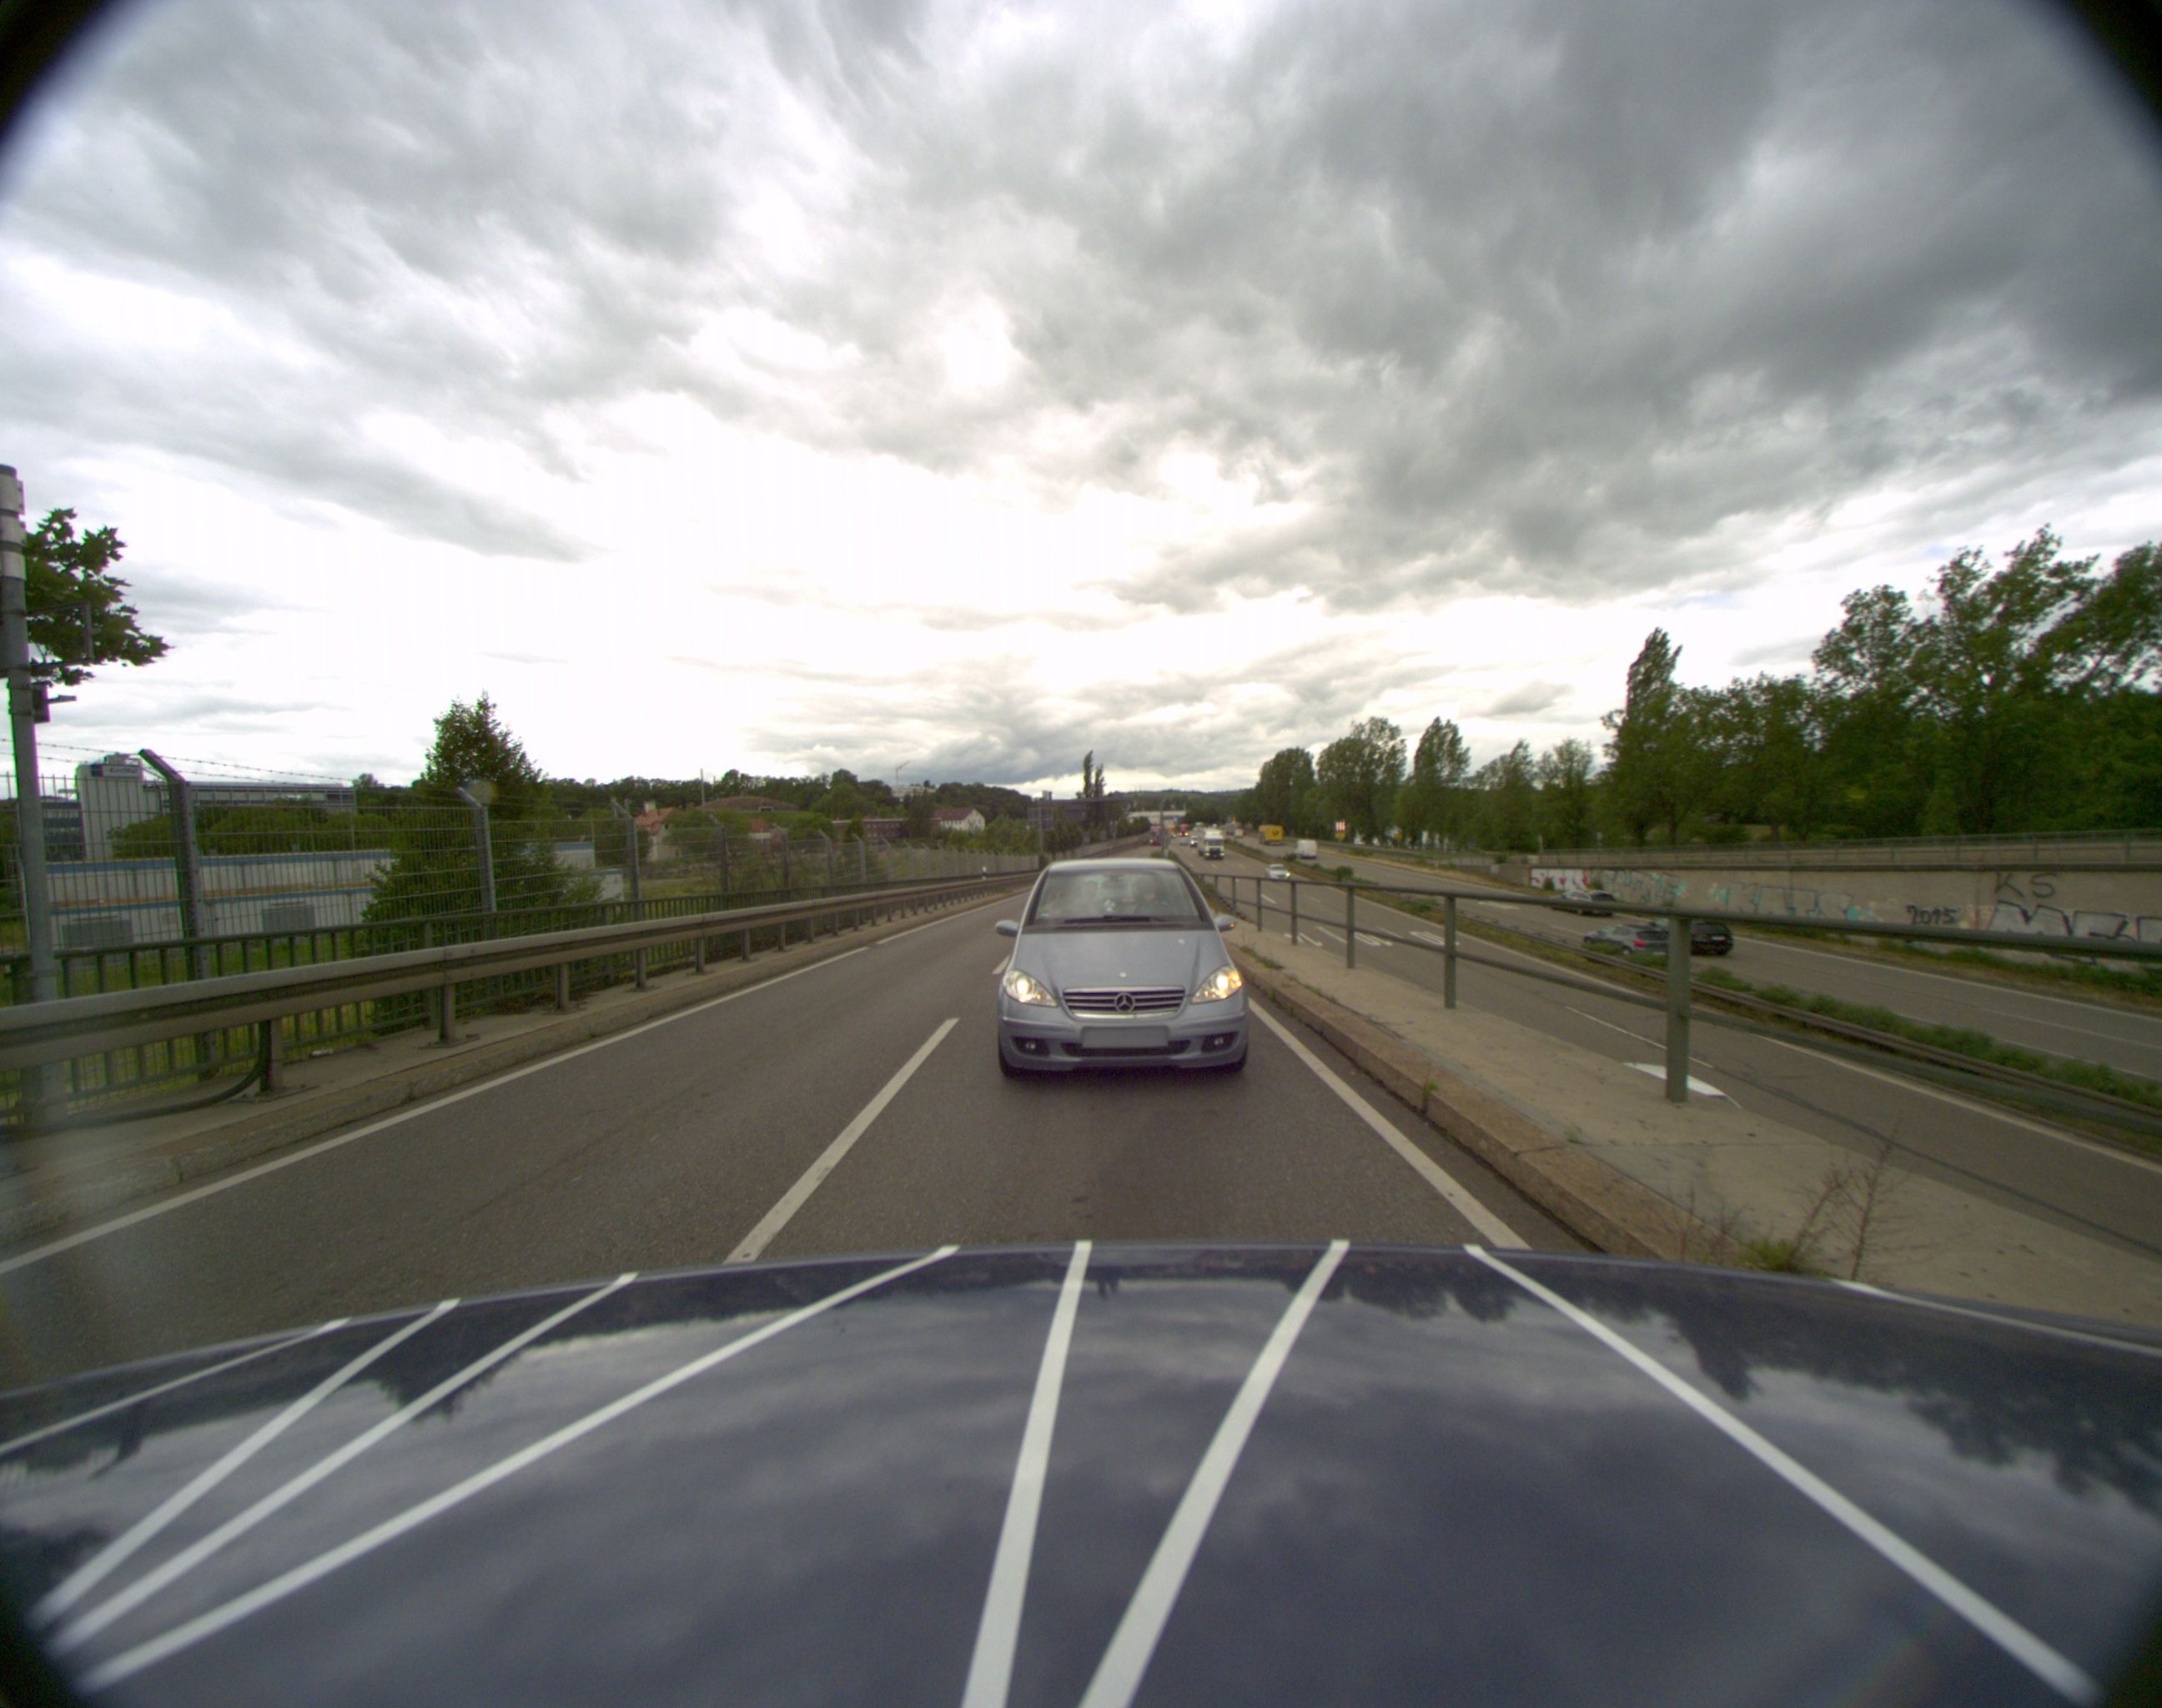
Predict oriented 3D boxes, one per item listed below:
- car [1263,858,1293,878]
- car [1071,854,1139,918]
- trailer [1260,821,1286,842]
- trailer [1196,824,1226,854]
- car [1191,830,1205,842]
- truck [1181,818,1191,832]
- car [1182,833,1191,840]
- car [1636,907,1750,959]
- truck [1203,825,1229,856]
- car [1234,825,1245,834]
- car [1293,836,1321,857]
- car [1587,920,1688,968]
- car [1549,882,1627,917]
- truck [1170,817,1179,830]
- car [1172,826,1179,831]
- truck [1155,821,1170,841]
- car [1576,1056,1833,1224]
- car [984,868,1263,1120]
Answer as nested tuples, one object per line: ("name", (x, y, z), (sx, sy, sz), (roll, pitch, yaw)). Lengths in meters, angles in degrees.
("car", (18.897, 1.334, 72.940), (1.854, 1.562, 4.436), (-1, 4, 2))
("car", (0.690, 0.911, 23.088), (1.830, 1.701, 4.001), (-2, -1, 1))
("trailer", (40.190, -4.799, 159.431), (3.247, 4.239, 13.678), (0, 3, 5))
("trailer", (19.571, -2.388, 115.140), (3.010, 4.087, 13.985), (0, 3, 3))
("car", (23.190, -3.584, 151.012), (2.104, 2.231, 6.498), (0, 3, 3))
("truck", (36.146, -9.986, 261.382), (2.754, 4.712, 9.916), (1, 3, 4))
("car", (22.663, -3.731, 163.500), (1.512, 1.365, 3.536), (0, 3, 3))
("car", (27.467, 3.489, 34.300), (1.886, 1.709, 4.181), (0, 3, 3))
("truck", (19.082, -1.968, 107.882), (3.010, 4.087, 5.872), (0, 3, 3))
("car", (47.512, -7.348, 227.608), (1.998, 2.614, 6.711), (1, 3, 3))
("car", (31.670, -1.115, 106.631), (2.172, 2.580, 6.099), (-1, 3, 1))
("car", (23.803, 3.826, 32.677), (1.718, 1.446, 3.649), (-1, 3, 2))
("car", (31.156, 2.780, 46.852), (1.864, 1.643, 4.632), (0, 3, 3))
("truck", (32.056, -10.450, 260.872), (2.415, 4.100, 8.169), (0, 3, 4))
("car", (28.861, -7.787, 231.974), (1.810, 1.658, 3.999), (-1, 3, 4))
("truck", (17.636, -5.013, 165.018), (3.101, 3.990, 8.487), (-1, 4, 5))
("car", (10.587, 4.801, 13.256), (1.769, 1.520, 3.335), (0, 3, 3))
("car", (0.300, 0.923, 6.793), (1.743, 1.534, 3.993), (-1, 0, 1))
